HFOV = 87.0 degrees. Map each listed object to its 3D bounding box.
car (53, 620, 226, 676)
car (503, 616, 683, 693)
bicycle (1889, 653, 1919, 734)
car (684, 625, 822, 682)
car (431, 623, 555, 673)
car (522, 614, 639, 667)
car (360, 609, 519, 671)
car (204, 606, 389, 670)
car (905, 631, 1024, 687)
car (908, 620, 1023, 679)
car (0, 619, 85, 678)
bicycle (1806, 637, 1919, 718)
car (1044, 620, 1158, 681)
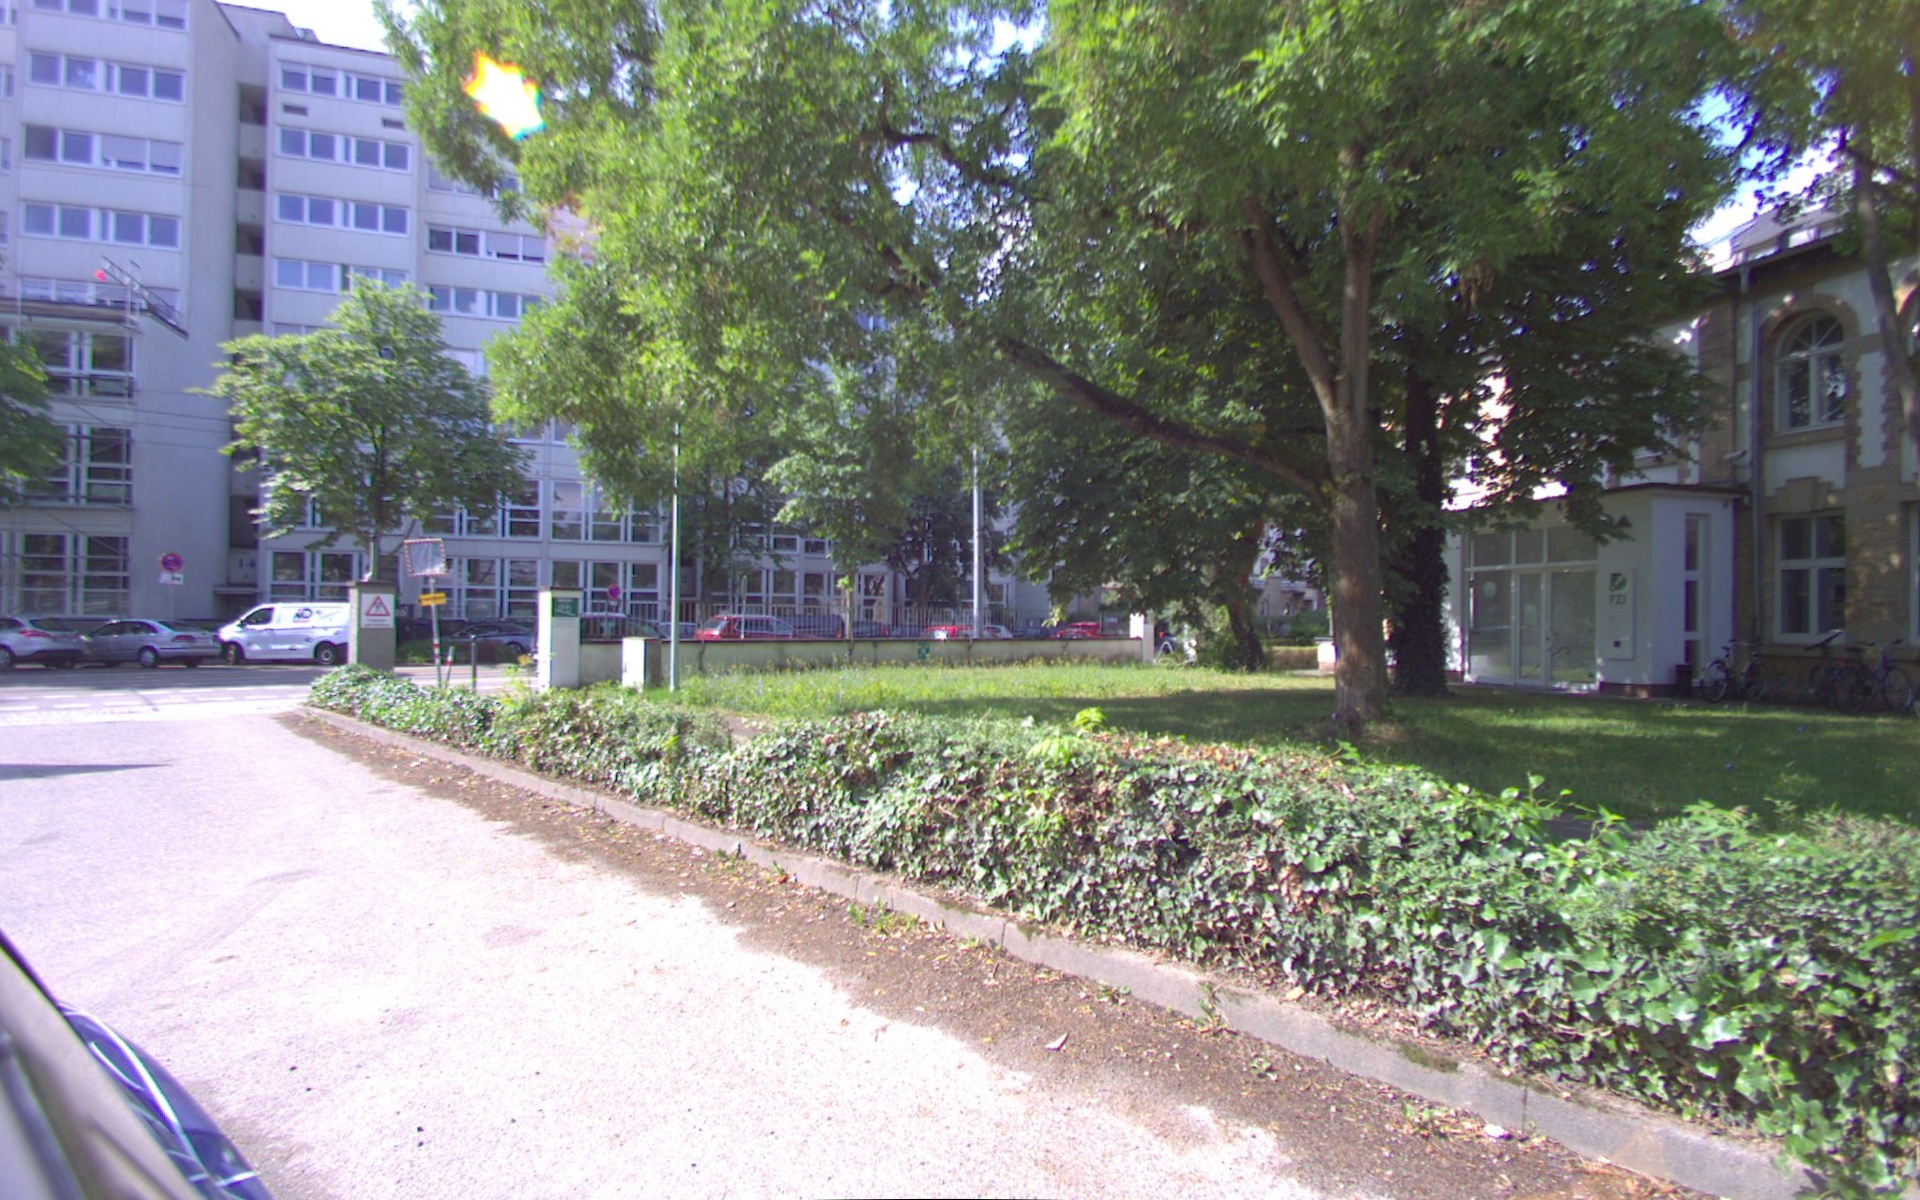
[{"bbox_3d":[-23.891,1.389,29.537,3.733,1.487,1.724,-1,-2,3],"label":"car"},{"bbox_3d":[-8.396,1.226,23.298,1.680,1.624,3.532,-4,-4,45],"label":"car"},{"bbox_3d":[13.804,1.253,14.161,1.828,1.044,0.321,-2,3,-18],"label":"bicycle"},{"bbox_3d":[-6.305,1.597,31.110,1.680,1.624,3.913,-1,-2,44],"label":"car"},{"bbox_3d":[-16.749,1.720,36.421,3.583,1.512,1.764,-2,2,-2],"label":"car"},{"bbox_3d":[-14.466,1.526,38.711,3.706,1.724,1.884,-2,3,0],"label":"car"},{"bbox_3d":[-17.641,1.328,34.417,4.514,2.012,1.901,0,0,4],"label":"car"},{"bbox_3d":[-20.670,1.215,31.638,4.582,1.927,1.930,0,-4,4],"label":"car"},{"bbox_3d":[0.185,1.800,31.233,1.680,1.624,3.532,-4,-4,45],"label":"car"},{"bbox_3d":[0.203,1.497,31.319,3.232,1.497,1.673,-5,2,-45],"label":"car"},{"bbox_3d":[-26.382,1.366,27.208,4.175,1.475,1.783,-2,-3,-1],"label":"car"},{"bbox_3d":[13.784,1.152,15.240,2.033,1.064,0.421,-3,-1,-13],"label":"bicycle"},{"bbox_3d":[5.072,1.734,36.129,3.941,1.718,1.968,-5,4,-44],"label":"car"}]
